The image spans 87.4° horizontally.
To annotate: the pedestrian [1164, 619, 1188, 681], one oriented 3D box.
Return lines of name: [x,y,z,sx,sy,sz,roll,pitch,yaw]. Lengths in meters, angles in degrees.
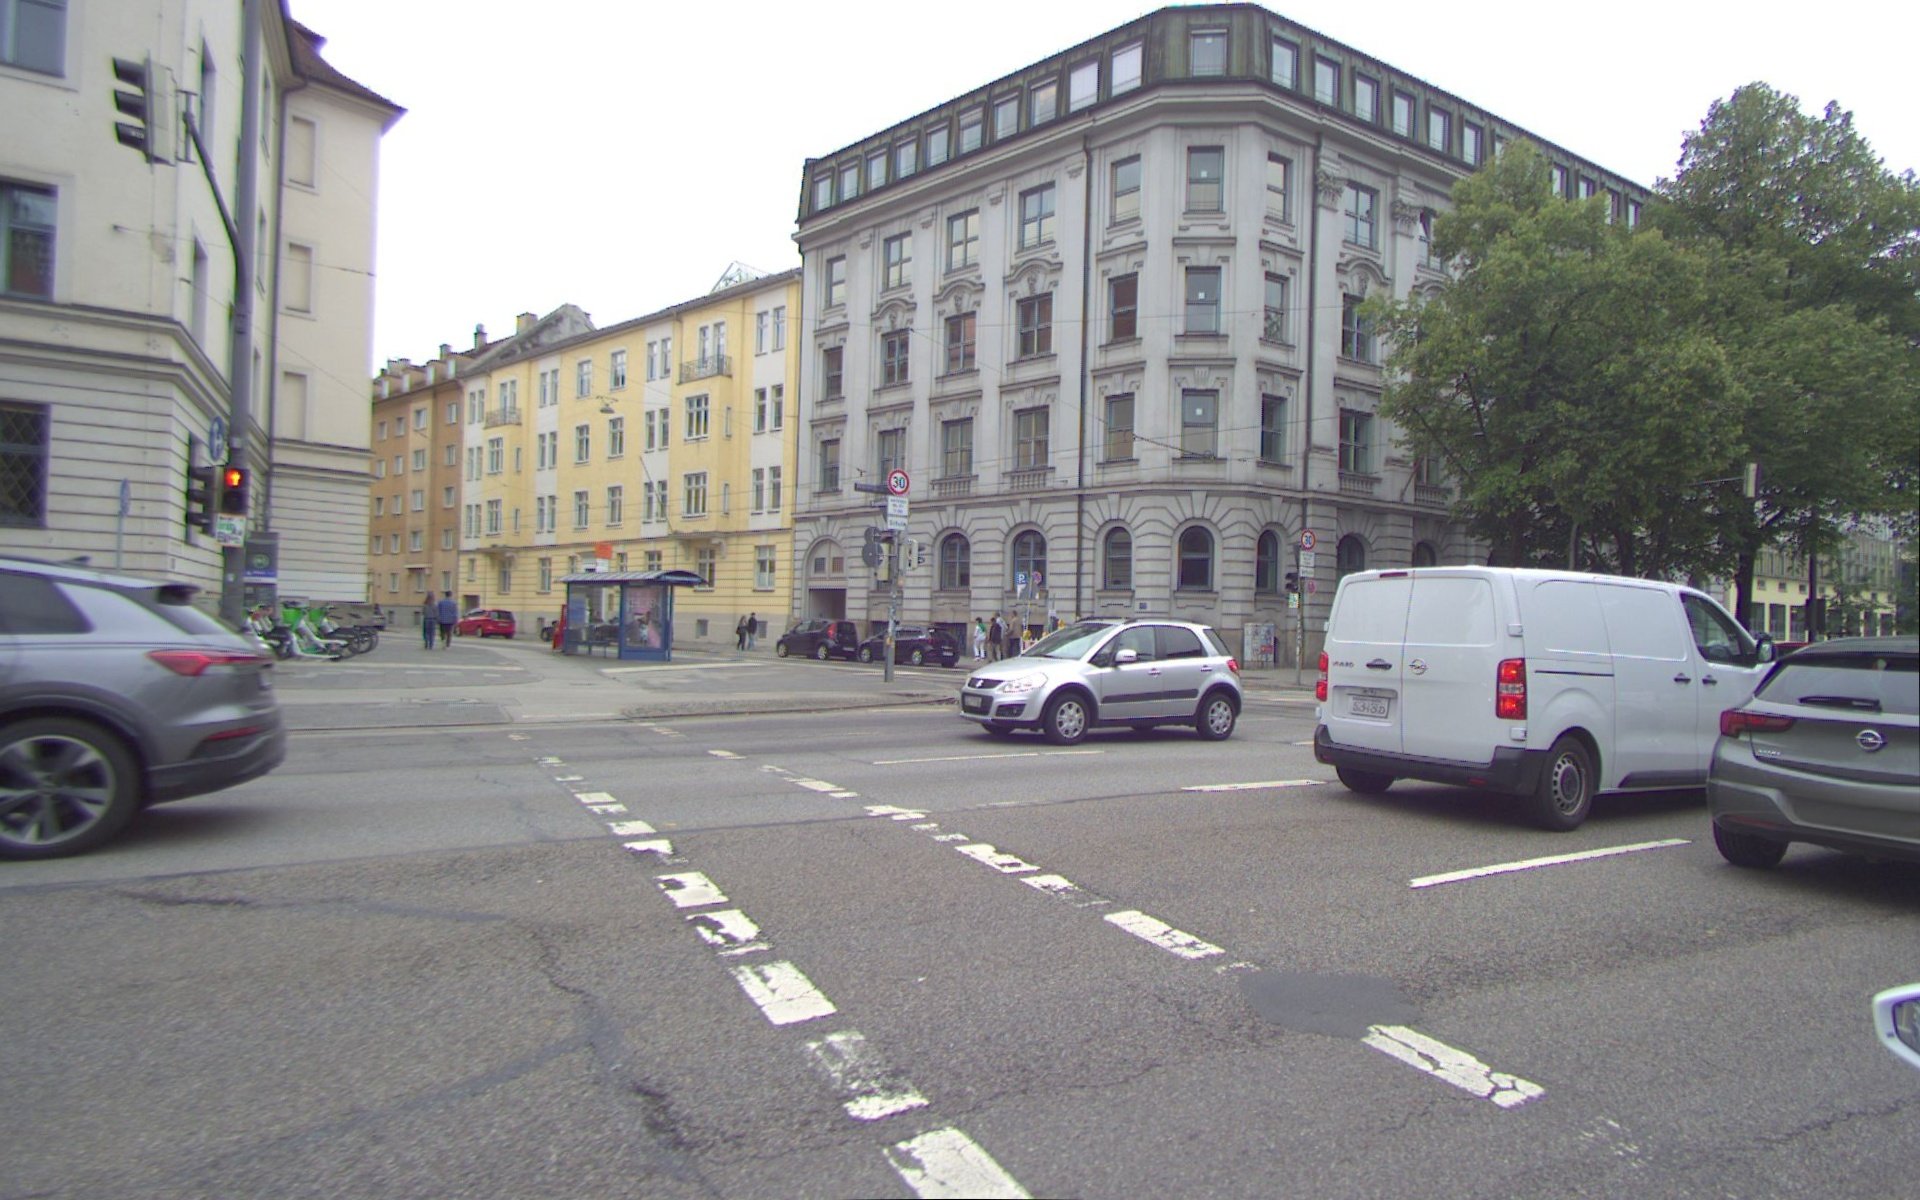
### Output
pedestrian: [6.286,1.448,29.252,0.461,1.762,0.502,2,-1,-11]

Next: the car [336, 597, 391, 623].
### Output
car: [-40.119,0.683,67.534,3.664,1.617,1.992,1,-2,39]

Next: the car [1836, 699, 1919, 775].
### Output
car: [23.394,3.311,24.705,3.899,1.592,1.626,3,-1,-30]

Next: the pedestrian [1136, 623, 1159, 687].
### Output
pedestrian: [5.567,1.637,29.881,0.461,1.879,0.502,2,-1,-11]

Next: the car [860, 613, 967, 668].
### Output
car: [-1.652,1.382,34.777,3.522,1.753,1.685,0,-2,42]

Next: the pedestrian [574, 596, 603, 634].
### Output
pedestrian: [-16.266,0.657,44.024,0.865,1.597,0.859,1,-1,42]

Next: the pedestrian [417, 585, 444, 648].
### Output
pedestrian: [-15.972,0.491,30.306,0.652,1.877,0.802,3,0,-29]

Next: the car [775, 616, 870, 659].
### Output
car: [-5.294,1.424,38.504,3.522,1.538,1.685,0,-2,42]

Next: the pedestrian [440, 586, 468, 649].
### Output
pedestrian: [-15.426,0.519,30.616,0.652,1.877,0.802,3,0,-29]

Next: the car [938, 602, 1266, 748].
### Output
car: [1.925,0.947,13.238,4.115,1.661,1.671,3,-2,-30]

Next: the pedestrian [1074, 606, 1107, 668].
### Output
pedestrian: [4.401,1.249,33.838,0.768,2.040,0.664,3,0,40]

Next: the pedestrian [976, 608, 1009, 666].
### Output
pedestrian: [1.152,1.322,35.962,0.768,2.040,0.799,3,0,39]

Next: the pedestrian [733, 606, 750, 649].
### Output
pedestrian: [-9.837,1.241,45.242,0.463,1.879,0.500,1,-2,41]

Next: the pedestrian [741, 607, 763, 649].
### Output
pedestrian: [-9.477,1.265,45.691,0.671,1.879,0.625,1,-2,41]

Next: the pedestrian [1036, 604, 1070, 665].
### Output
pedestrian: [3.189,1.192,34.494,0.768,2.040,0.799,3,0,39]

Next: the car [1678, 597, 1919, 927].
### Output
car: [6.263,0.874,6.019,3.954,1.572,1.702,3,0,-31]

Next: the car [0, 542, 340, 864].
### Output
car: [-5.918,0.479,5.353,4.324,1.607,1.714,3,-2,-31]

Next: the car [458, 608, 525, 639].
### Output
car: [-26.359,1.310,56.462,3.664,1.617,1.992,1,-2,39]

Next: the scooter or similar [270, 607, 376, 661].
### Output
scooter or similar: [-14.186,0.765,22.428,1.925,1.134,0.685,3,0,-30]

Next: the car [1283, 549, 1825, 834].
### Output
car: [5.247,0.723,8.668,4.899,1.872,1.889,3,-2,-31]

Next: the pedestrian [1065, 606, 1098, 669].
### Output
pedestrian: [4.001,1.227,33.185,0.768,2.040,0.640,3,0,40]

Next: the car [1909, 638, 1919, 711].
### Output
car: [22.799,1.693,22.200,3.899,1.592,1.626,3,-1,-30]

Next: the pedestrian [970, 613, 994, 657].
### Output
pedestrian: [0.823,1.312,37.964,0.568,1.616,0.645,3,0,39]

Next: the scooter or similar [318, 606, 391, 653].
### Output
scooter or similar: [-15.393,0.758,25.572,1.529,1.134,0.542,3,0,-30]

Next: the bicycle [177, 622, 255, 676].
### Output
bicycle: [-14.382,0.931,19.418,1.252,0.959,0.406,3,0,7]

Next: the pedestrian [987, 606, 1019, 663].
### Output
pedestrian: [1.569,1.264,36.680,0.768,2.040,0.799,3,0,39]

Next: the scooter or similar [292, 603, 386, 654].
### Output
scooter or similar: [-15.183,0.703,24.619,1.879,1.173,0.685,3,0,-30]

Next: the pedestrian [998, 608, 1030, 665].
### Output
pedestrian: [2.014,1.353,37.395,0.768,2.040,0.799,3,0,39]

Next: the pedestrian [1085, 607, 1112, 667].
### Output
pedestrian: [4.751,1.269,34.546,0.571,2.040,0.664,3,0,39]

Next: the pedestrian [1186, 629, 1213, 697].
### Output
pedestrian: [6.803,1.787,28.526,0.518,1.879,0.502,2,-1,-11]

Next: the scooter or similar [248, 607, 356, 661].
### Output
scooter or similar: [-15.003,0.780,22.950,1.921,1.134,0.686,3,0,-24]
